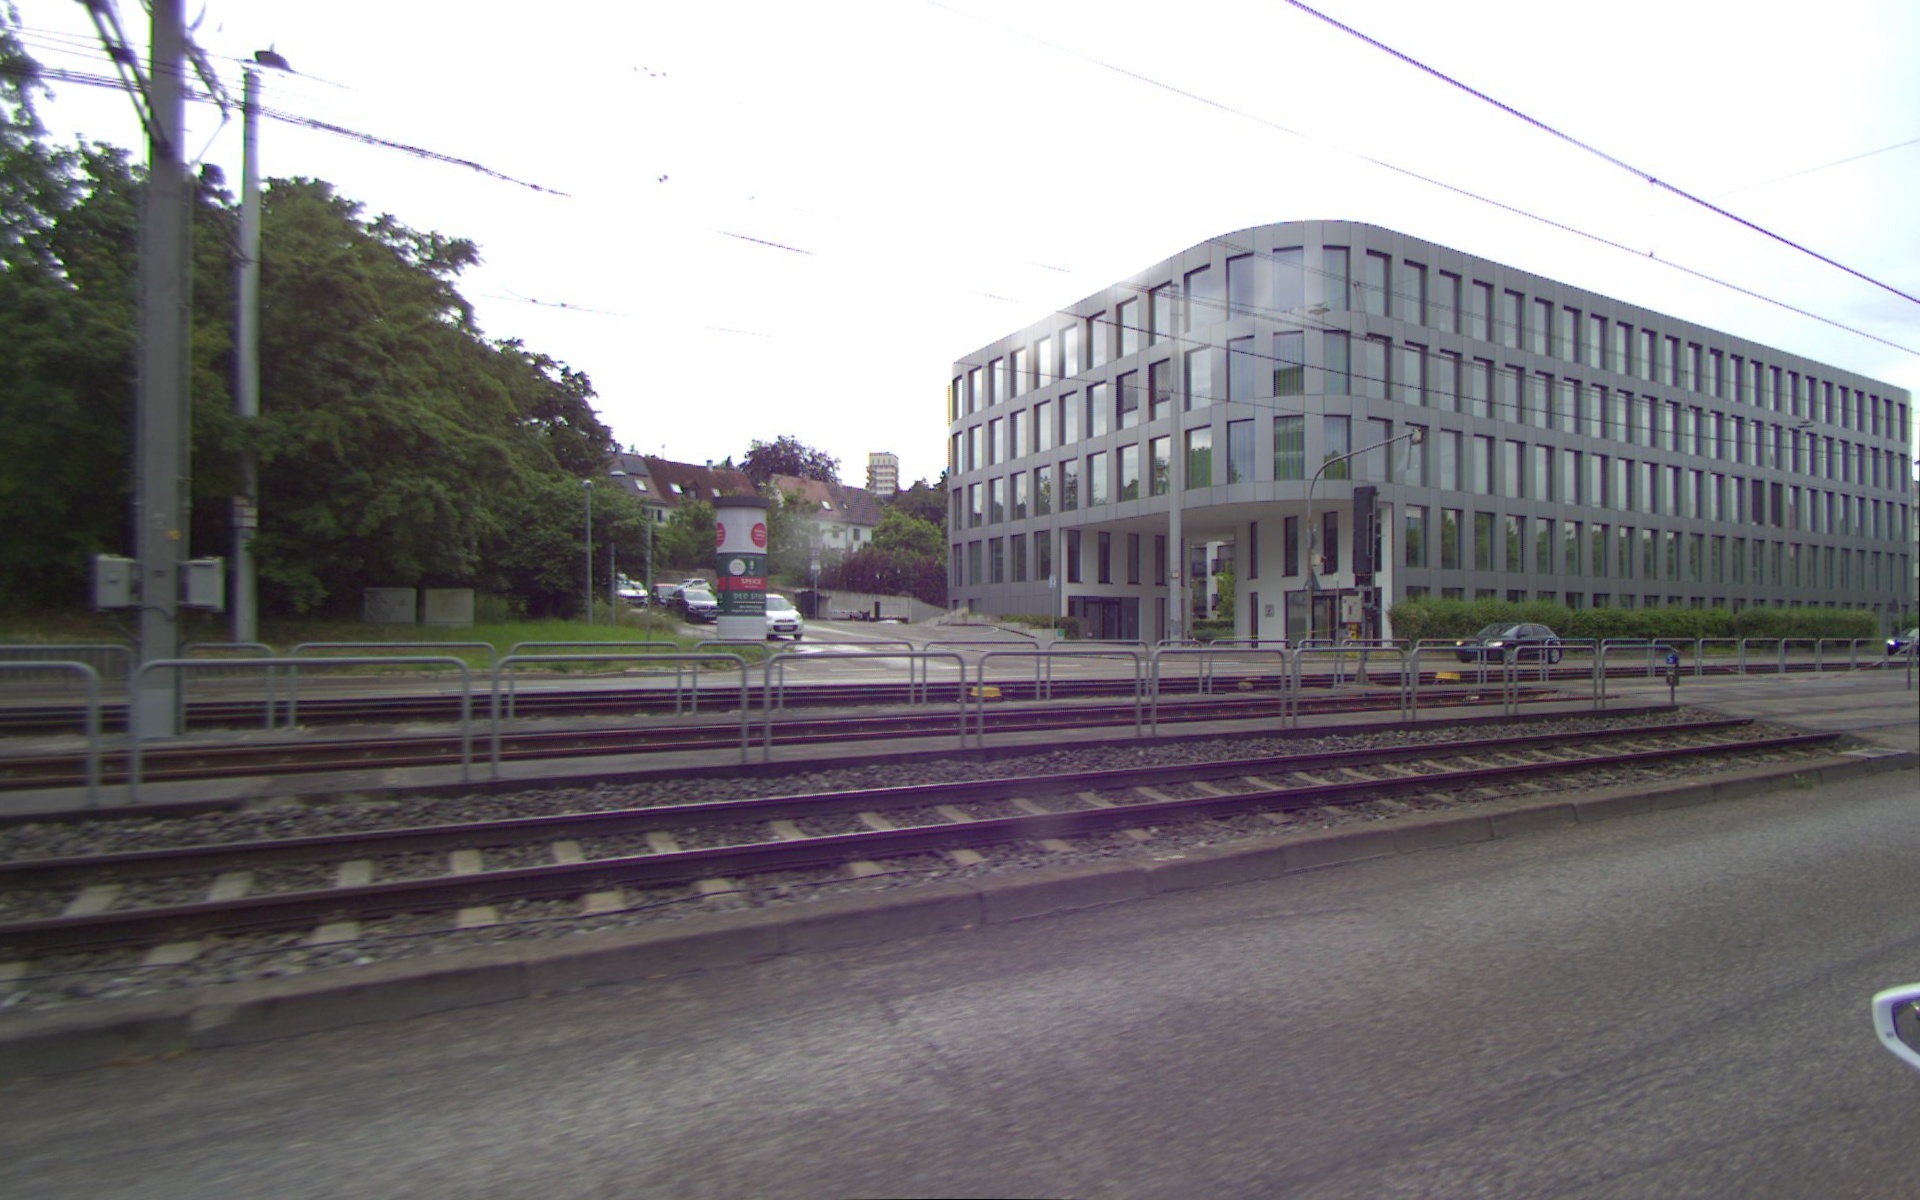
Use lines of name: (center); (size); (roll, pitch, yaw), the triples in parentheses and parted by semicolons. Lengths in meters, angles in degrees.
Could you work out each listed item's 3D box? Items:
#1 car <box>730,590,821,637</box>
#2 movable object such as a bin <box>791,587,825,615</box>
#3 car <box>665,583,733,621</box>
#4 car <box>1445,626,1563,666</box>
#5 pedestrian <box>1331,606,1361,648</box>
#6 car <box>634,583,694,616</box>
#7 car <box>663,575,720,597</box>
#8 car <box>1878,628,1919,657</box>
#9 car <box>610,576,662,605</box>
car: (-6.646, 0.449, 35.920); (1.904, 1.472, 3.898); (2, 1, -31)
movable object such as a bin: (-7.937, 0.060, 52.340); (1.261, 1.414, 1.258); (1, 1, -37)
car: (-11.638, 0.065, 44.624); (1.852, 1.472, 4.052); (2, 1, -31)
car: (18.509, 1.561, 34.138); (3.940, 1.260, 1.748); (2, -2, -30)
pedestrian: (15.524, 1.081, 40.440); (0.835, 1.669, 0.721); (2, 0, -29)
car: (-14.598, -0.039, 49.404); (1.852, 1.429, 4.052); (2, 1, -31)
car: (-20.307, -1.068, 76.195); (1.910, 1.510, 4.020); (3, 1, 29)
car: (47.681, 2.121, 49.974); (4.209, 1.365, 1.790); (2, -2, -30)
car: (-18.818, -0.560, 58.269); (1.924, 1.494, 4.233); (2, 1, -31)
